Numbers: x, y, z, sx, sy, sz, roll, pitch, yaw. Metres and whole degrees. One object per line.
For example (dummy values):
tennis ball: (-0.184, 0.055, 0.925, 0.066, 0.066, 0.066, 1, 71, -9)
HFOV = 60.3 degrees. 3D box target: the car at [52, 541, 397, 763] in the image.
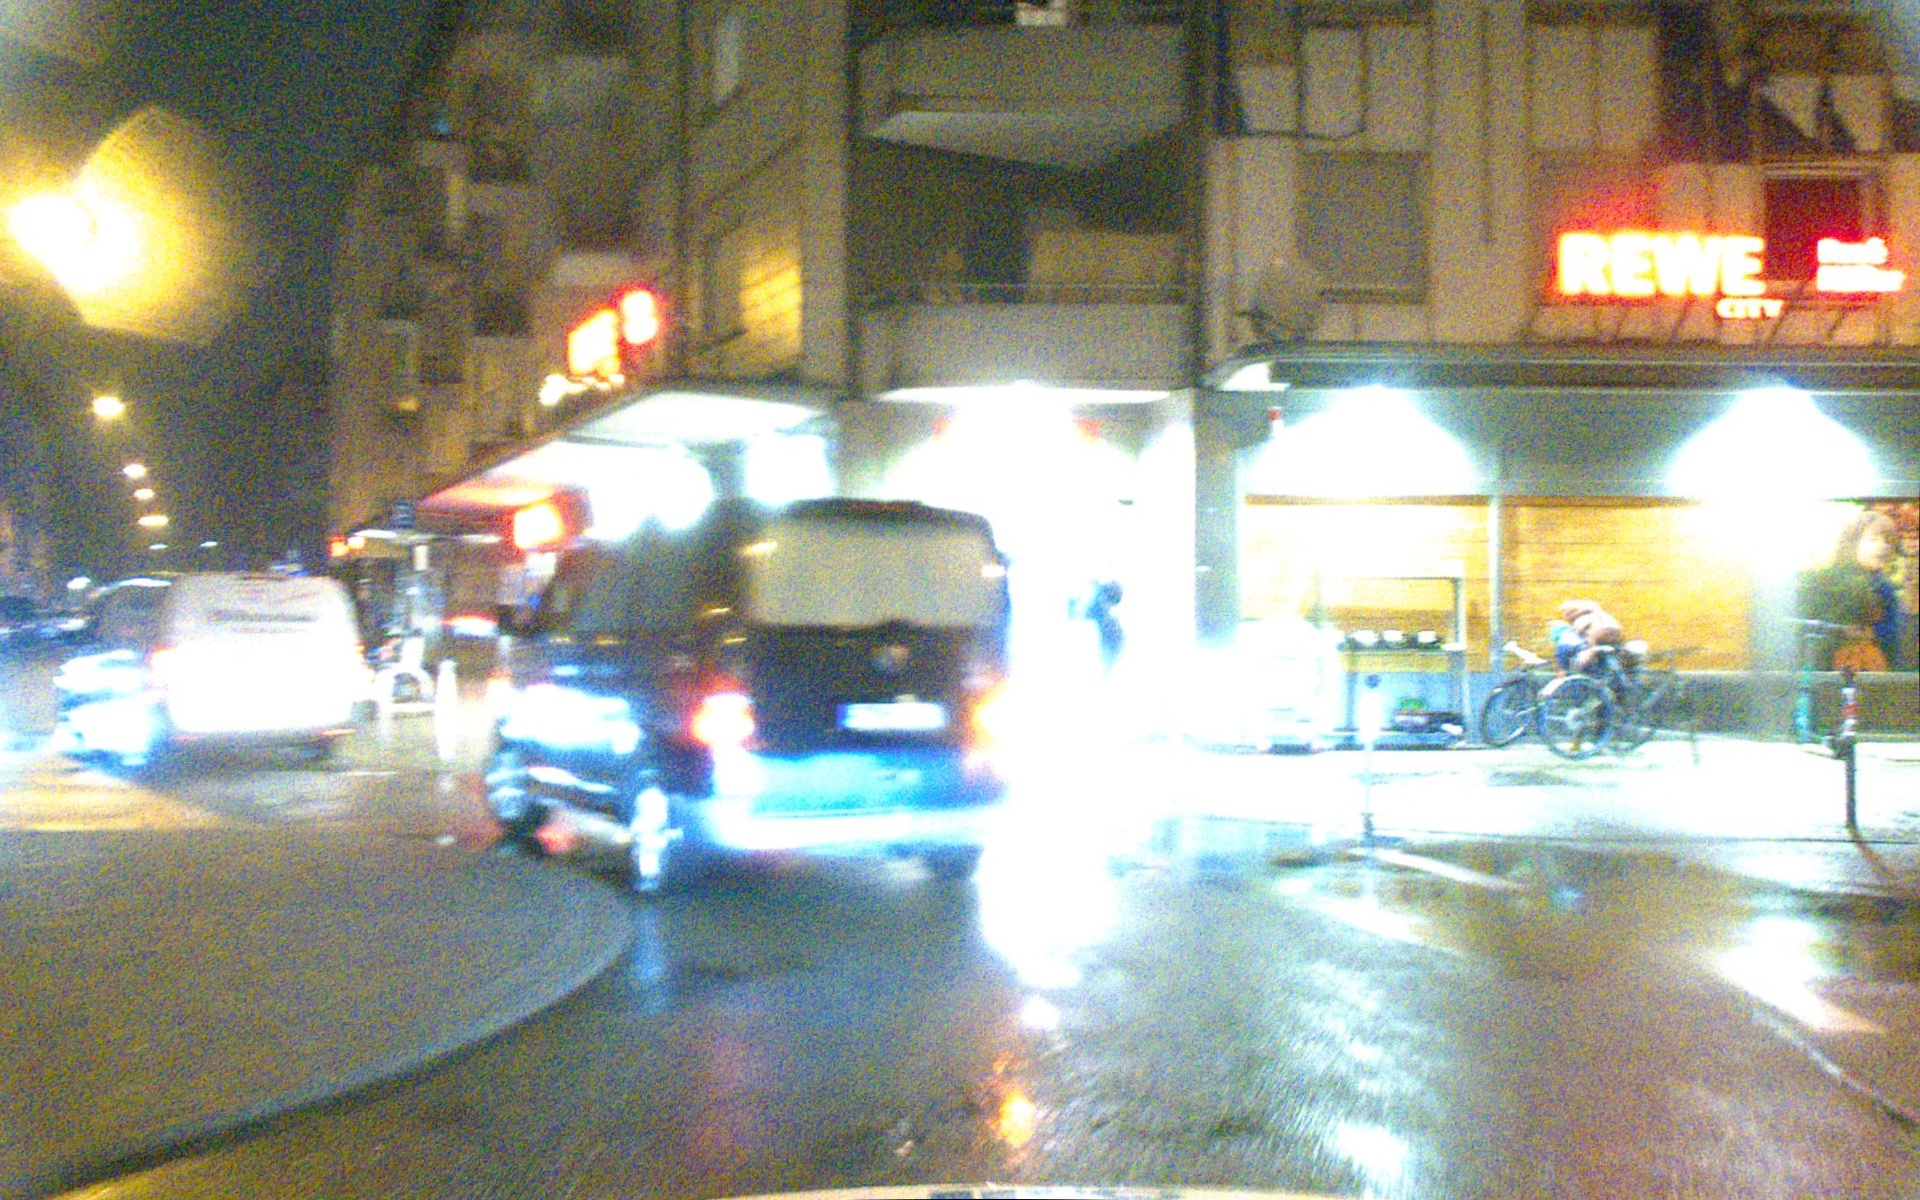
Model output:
car: (-7.733, 0.469, 17.112, 2.109, 1.956, 4.758, 1, -1, -39)

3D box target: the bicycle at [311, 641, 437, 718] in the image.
bicycle: (-8.760, 1.173, 24.747, 1.742, 1.098, 0.431, 0, 0, -28)

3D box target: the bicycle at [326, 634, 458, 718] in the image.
bicycle: (-8.201, 1.083, 23.910, 1.762, 1.144, 0.431, -1, 0, -28)

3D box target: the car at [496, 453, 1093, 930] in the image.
car: (-1.250, 0.414, 9.566, 2.095, 2.026, 4.565, 1, -1, -25)

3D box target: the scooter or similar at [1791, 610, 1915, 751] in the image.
scooter or similar: (8.416, 0.732, 15.634, 0.514, 1.251, 1.314, 1, 0, 4)

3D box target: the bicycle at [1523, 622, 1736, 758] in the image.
bicycle: (6.006, 0.800, 14.873, 1.744, 1.194, 0.384, 0, 0, 2)

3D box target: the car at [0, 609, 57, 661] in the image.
car: (-38.654, 1.431, 68.425, 1.969, 2.049, 3.966, 2, -2, -26)

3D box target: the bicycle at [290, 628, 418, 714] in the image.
bicycle: (-9.226, 1.070, 25.209, 1.742, 1.144, 0.431, -4, 2, -28)

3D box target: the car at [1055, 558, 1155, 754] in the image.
car: (1.410, 0.531, 16.276, 0.856, 1.873, 0.964, 0, 0, -2)

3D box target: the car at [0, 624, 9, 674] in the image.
car: (-29.278, 1.415, 48.629, 1.970, 1.474, 3.965, 2, -2, -27)

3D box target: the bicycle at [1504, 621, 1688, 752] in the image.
bicycle: (6.074, 0.825, 15.826, 1.608, 1.195, 0.384, 1, -3, 2)

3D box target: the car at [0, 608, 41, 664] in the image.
car: (-36.385, 1.372, 63.192, 1.970, 2.049, 3.965, 2, -2, -27)
